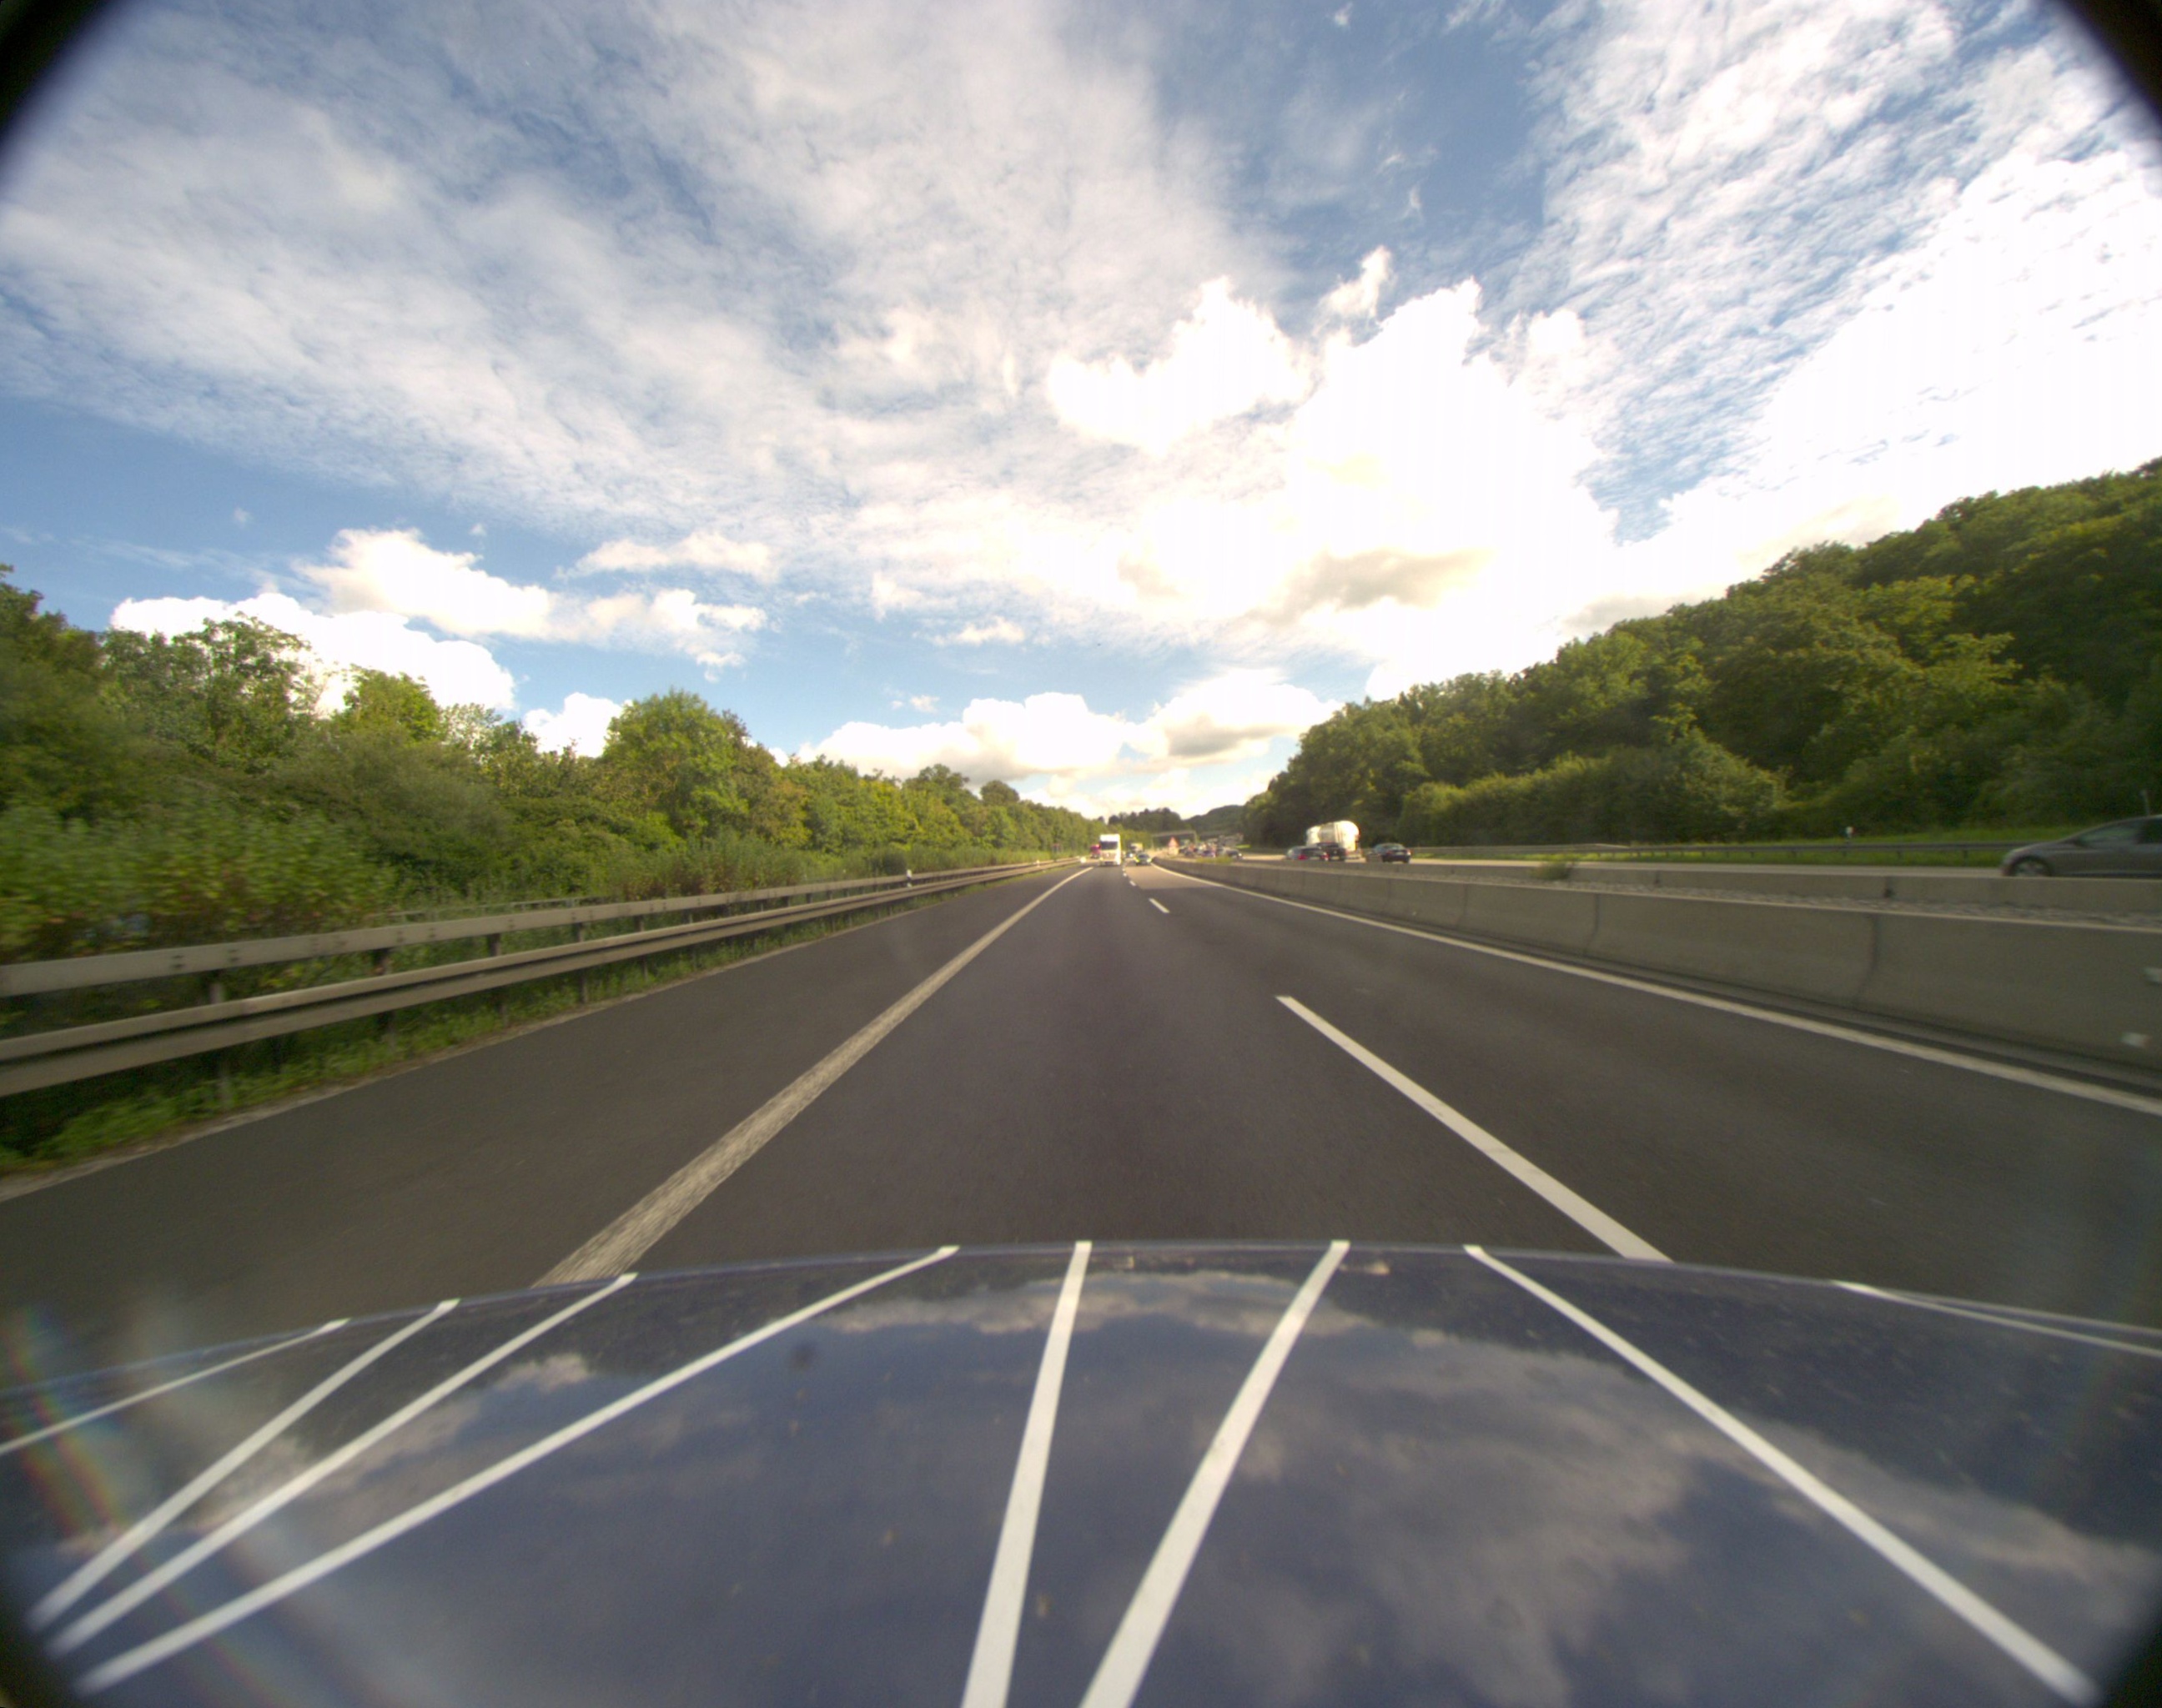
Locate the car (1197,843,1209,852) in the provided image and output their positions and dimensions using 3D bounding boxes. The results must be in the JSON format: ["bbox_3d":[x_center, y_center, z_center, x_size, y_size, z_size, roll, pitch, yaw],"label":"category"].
[{"bbox_3d":[25.927,-1.409,161.440,2.104,1.743,4.001,-3,0,4],"label":"car"}]

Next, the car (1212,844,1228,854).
[{"bbox_3d":[21.263,-0.775,116.477,1.837,1.522,4.548,-3,0,4],"label":"car"}]

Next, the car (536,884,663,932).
[{"bbox_3d":[-19.145,2.092,30.518,1.771,1.501,4.871,-3,0,3],"label":"car"}]

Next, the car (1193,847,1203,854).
[{"bbox_3d":[30.522,-0.995,198.164,2.103,1.743,4.001,-2,0,5],"label":"car"}]

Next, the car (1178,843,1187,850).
[{"bbox_3d":[27.593,-2.061,206.037,2.125,1.743,4.001,-3,0,5],"label":"car"}]

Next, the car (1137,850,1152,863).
[{"bbox_3d":[7.708,0.278,91.844,1.662,1.464,4.001,-3,0,4],"label":"car"}]

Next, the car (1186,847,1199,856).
[{"bbox_3d":[18.262,-0.388,124.769,1.601,1.489,4.064,-3,0,3],"label":"car"}]

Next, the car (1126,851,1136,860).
[{"bbox_3d":[11.272,0.377,171.027,1.998,2.002,4.000,-2,1,3],"label":"car"}]

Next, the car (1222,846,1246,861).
[{"bbox_3d":[16.260,-0.076,80.747,1.771,1.469,4.539,-3,0,3],"label":"car"}]

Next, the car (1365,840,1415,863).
[{"bbox_3d":[21.625,-0.205,53.345,1.905,1.456,4.342,-3,0,3],"label":"car"}]

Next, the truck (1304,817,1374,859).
[{"bbox_3d":[27.842,-1.723,82.997,3.458,4.103,13.680,-2,1,3],"label":"truck"}]

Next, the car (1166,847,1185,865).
[{"bbox_3d":[11.747,0.225,94.357,1.998,2.022,4.001,-2,0,3],"label":"car"}]

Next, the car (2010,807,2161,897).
[{"bbox_3d":[20.452,-0.070,13.896,1.731,1.629,4.191,-3,0,-1],"label":"car"}]

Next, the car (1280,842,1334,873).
[{"bbox_3d":[13.071,0.187,44.167,1.806,1.597,4.483,-3,0,1],"label":"car"}]

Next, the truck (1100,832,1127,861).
[{"bbox_3d":[4.361,-1.005,99.460,2.795,3.562,11.461,-2,1,6],"label":"truck"}]

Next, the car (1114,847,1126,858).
[{"bbox_3d":[7.073,-0.263,138.031,1.998,1.798,3.809,-2,0,3],"label":"car"}]

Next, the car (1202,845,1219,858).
[{"bbox_3d":[16.365,-0.322,96.405,1.601,1.521,3.843,-3,0,3],"label":"car"}]

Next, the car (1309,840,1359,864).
[{"bbox_3d":[17.937,-0.154,54.102,2.041,1.484,5.040,-3,0,3],"label":"car"}]
